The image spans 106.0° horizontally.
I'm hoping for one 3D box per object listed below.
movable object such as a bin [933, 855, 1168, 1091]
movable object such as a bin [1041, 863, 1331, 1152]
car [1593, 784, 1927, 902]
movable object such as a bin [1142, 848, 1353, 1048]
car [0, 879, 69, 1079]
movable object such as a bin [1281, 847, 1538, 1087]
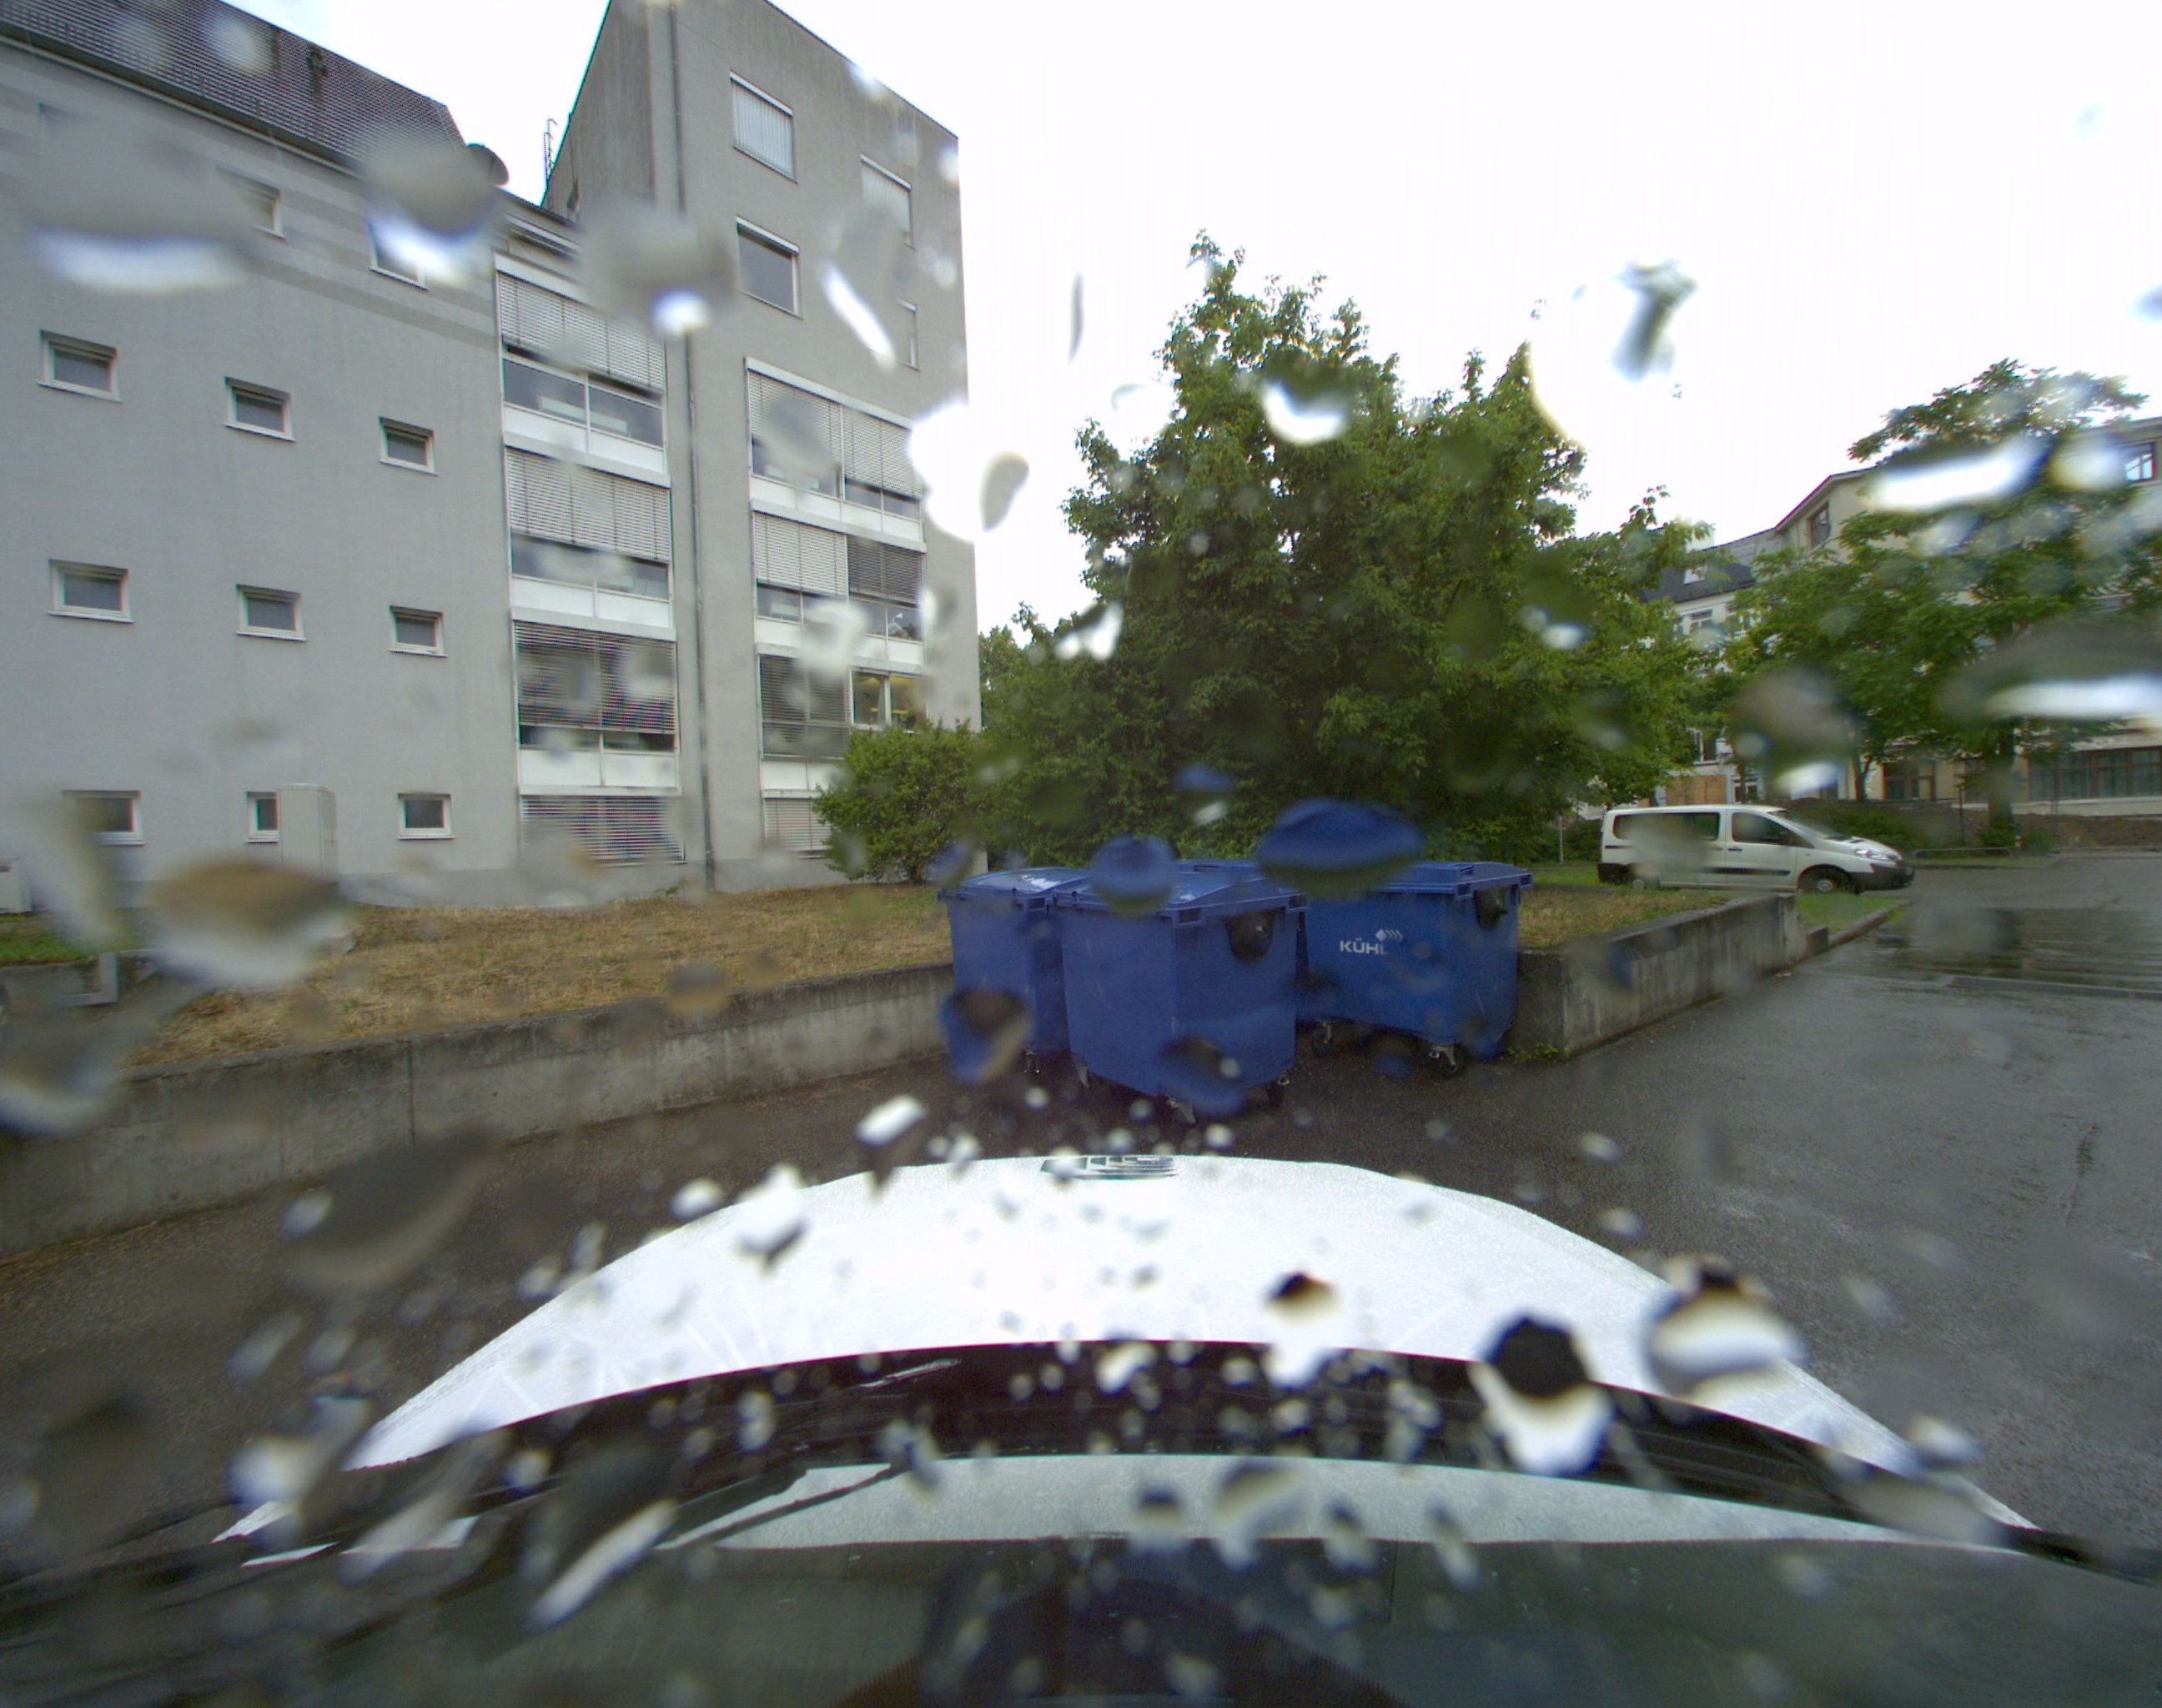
[{"bbox_3d":[-0.230,0.727,5.732,1.122,1.336,1.193,-5,4,-36],"label":"movable object such as a bin"},{"bbox_3d":[0.571,0.742,4.691,1.121,1.337,1.194,-2,0,-33],"label":"movable object such as a bin"},{"bbox_3d":[13.345,-0.168,16.334,2.009,2.013,4.743,-3,0,-36],"label":"car"},{"bbox_3d":[1.295,0.661,6.442,1.011,1.337,1.212,-4,2,-36],"label":"movable object such as a bin"},{"bbox_3d":[-8.063,0.980,4.799,1.832,1.333,4.130,-4,4,-41],"label":"car"},{"bbox_3d":[2.173,0.652,5.457,1.011,1.337,1.212,-3,1,-36],"label":"movable object such as a bin"}]
